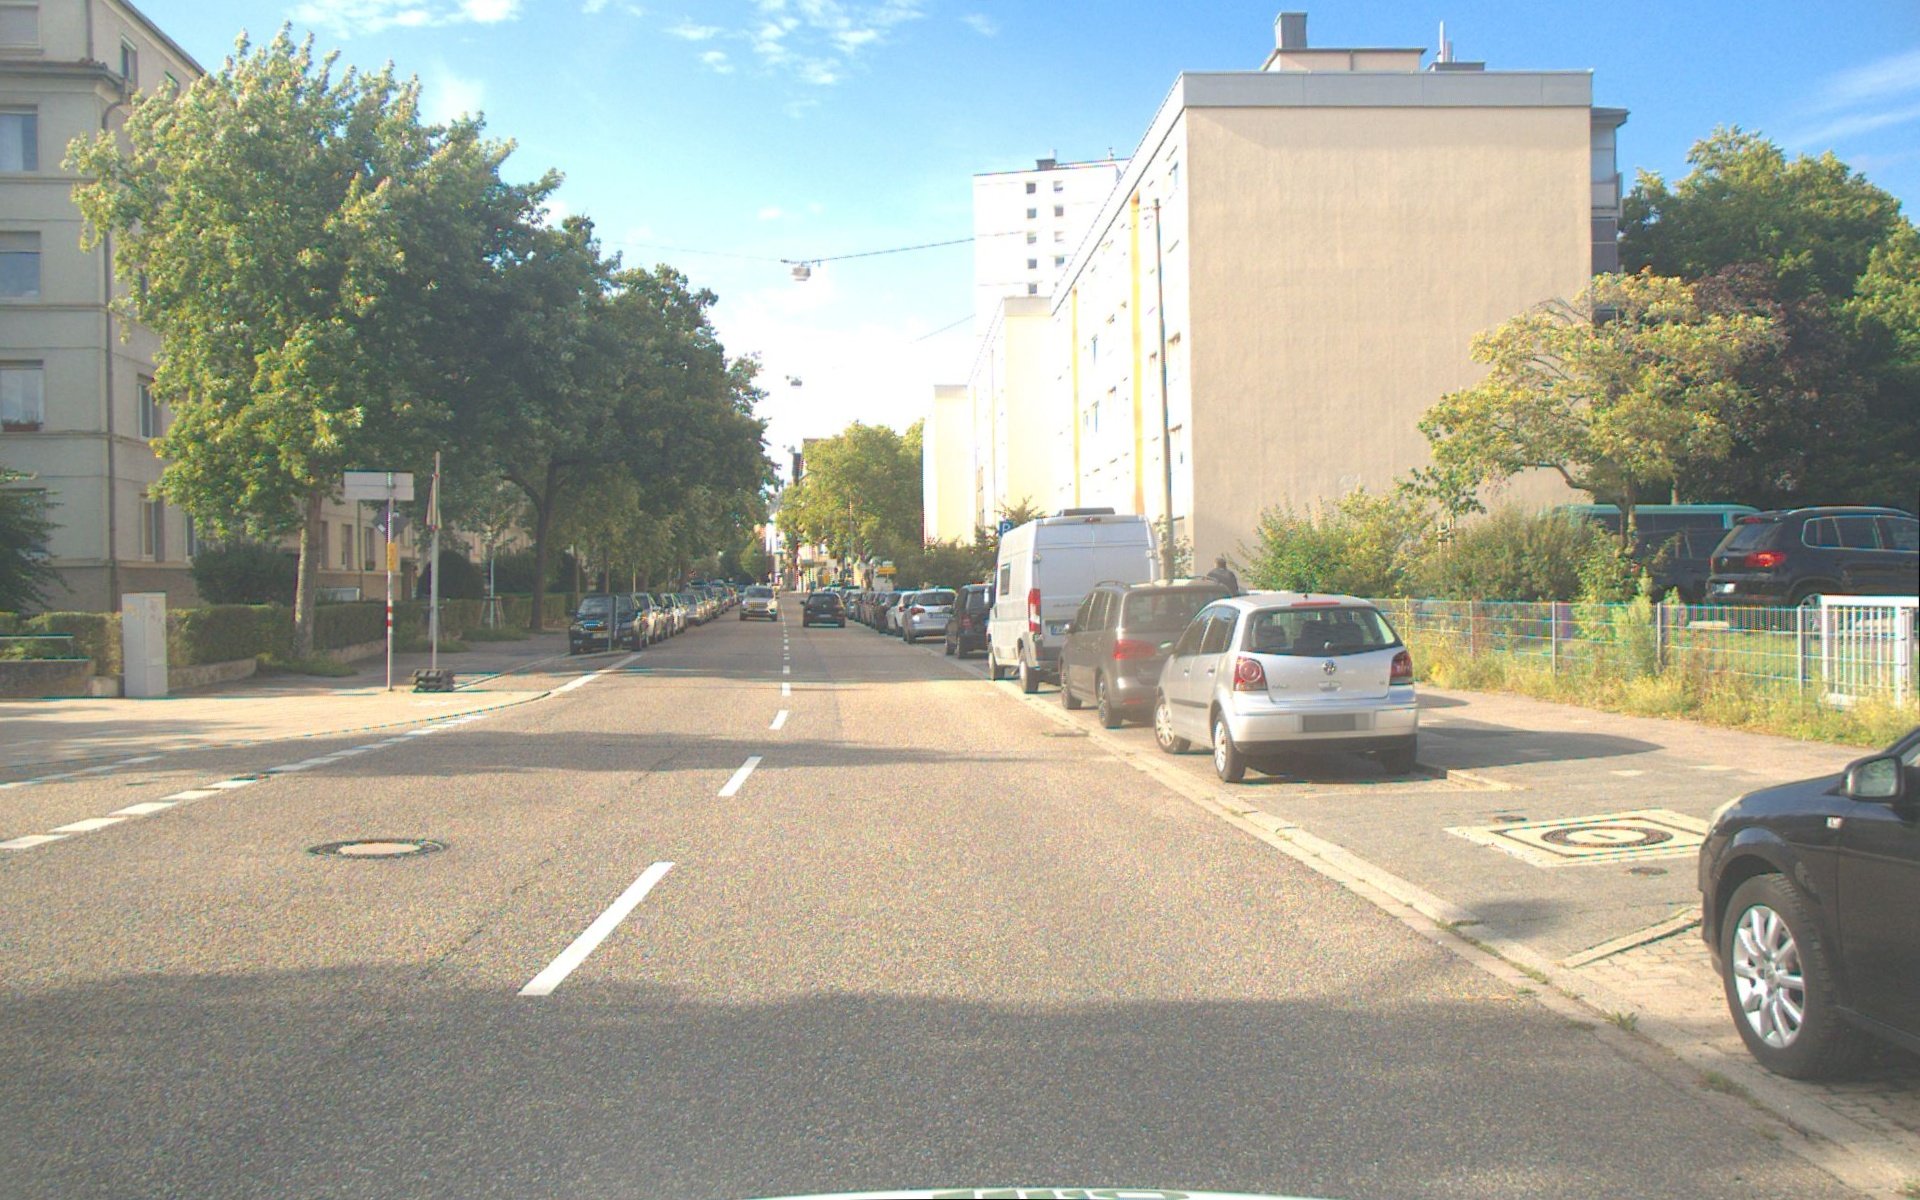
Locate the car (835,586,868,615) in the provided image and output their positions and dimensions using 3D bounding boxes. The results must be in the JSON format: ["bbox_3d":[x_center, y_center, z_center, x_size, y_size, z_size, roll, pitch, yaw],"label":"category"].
[{"bbox_3d":[-6.792,-0.009,103.322,1.954,1.713,3.997,-2,1,-4],"label":"car"}]

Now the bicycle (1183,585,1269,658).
[{"bbox_3d":[4.226,0.324,26.453,0.725,1.052,2.760,-3,0,-3],"label":"bicycle"}]

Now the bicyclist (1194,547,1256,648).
[{"bbox_3d":[4.212,-0.041,26.304,0.722,1.540,0.874,-3,0,-4],"label":"bicyclist"}]

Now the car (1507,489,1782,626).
[{"bbox_3d":[12.132,-0.748,29.525,4.035,2.224,2.000,-2,1,0],"label":"car"}]

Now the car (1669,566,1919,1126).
[{"bbox_3d":[3.461,0.656,3.833,1.683,1.522,4.266,-1,0,-2],"label":"car"}]

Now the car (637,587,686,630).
[{"bbox_3d":[-10.475,0.267,58.197,1.607,1.414,3.426,-2,1,-9],"label":"car"}]

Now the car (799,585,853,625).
[{"bbox_3d":[-5.612,0.172,68.923,1.957,1.598,3.991,0,0,-9],"label":"car"}]

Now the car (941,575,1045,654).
[{"bbox_3d":[0.682,0.289,37.119,1.954,1.601,3.997,-2,1,-4],"label":"car"}]

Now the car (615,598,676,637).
[{"bbox_3d":[-10.009,0.540,52.803,1.774,1.135,3.583,-2,1,-9],"label":"car"}]

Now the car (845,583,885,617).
[{"bbox_3d":[-4.869,-0.020,84.980,1.954,1.601,3.997,-2,1,-4],"label":"car"}]

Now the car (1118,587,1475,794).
[{"bbox_3d":[2.820,0.673,15.094,1.976,1.500,4.799,-2,1,-4],"label":"car"}]

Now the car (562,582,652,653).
[{"bbox_3d":[-8.916,0.403,42.020,1.957,1.668,3.992,-2,1,-9],"label":"car"}]

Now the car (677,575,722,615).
[{"bbox_3d":[-13.901,-0.275,88.382,1.954,2.048,3.997,-2,1,-4],"label":"car"}]

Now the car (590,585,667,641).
[{"bbox_3d":[-9.489,0.355,47.592,1.957,1.476,3.896,-2,1,-9],"label":"car"}]

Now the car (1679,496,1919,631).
[{"bbox_3d":[12.258,-0.527,22.159,4.357,1.650,2.000,-2,1,0],"label":"car"}]

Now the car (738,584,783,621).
[{"bbox_3d":[-9.786,0.088,81.020,2.018,1.692,3.918,-2,1,-9],"label":"car"}]

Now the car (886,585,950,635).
[{"bbox_3d":[-1.445,0.307,55.496,1.954,1.556,3.997,-2,1,-4],"label":"car"}]

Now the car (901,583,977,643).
[{"bbox_3d":[-0.646,0.338,47.515,1.954,1.601,3.997,-2,1,-4],"label":"car"}]

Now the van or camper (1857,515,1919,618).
[{"bbox_3d":[28.450,-0.978,47.752,2.281,2.925,5.121,-1,0,0],"label":"van or camper"}]

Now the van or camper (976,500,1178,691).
[{"bbox_3d":[1.700,-0.092,26.233,2.167,2.652,5.364,-2,1,-7],"label":"van or camper"}]

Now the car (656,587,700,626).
[{"bbox_3d":[-12.197,0.257,71.740,1.774,1.588,3.426,-2,1,-9],"label":"car"}]

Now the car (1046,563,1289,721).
[{"bbox_3d":[2.380,0.433,20.165,1.955,1.644,4.402,-2,1,-6],"label":"car"}]

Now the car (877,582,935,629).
[{"bbox_3d":[-1.991,0.166,60.121,1.954,1.601,3.997,-2,1,-4],"label":"car"}]

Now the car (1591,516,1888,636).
[{"bbox_3d":[12.713,-0.387,27.149,3.905,1.769,2.000,-2,1,0],"label":"car"}]
